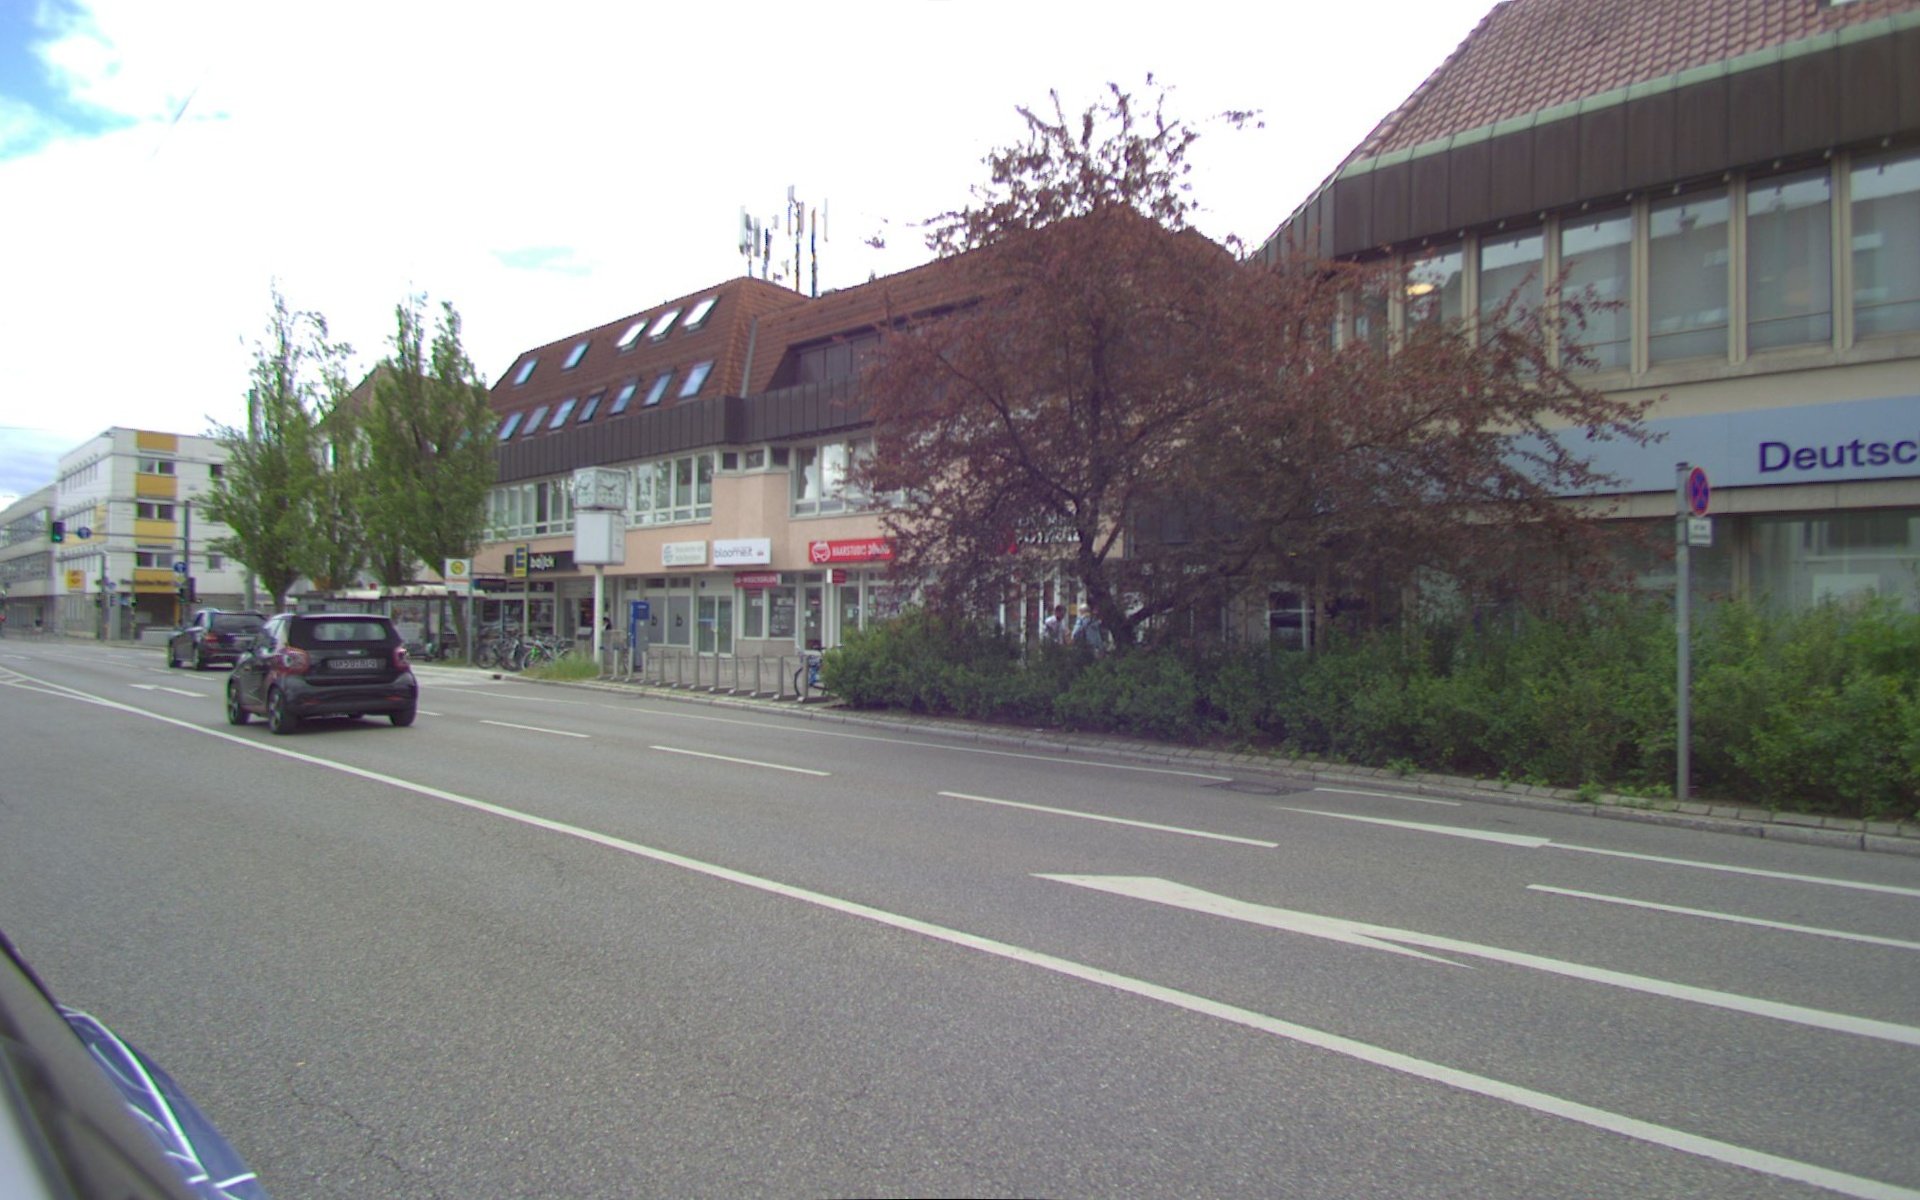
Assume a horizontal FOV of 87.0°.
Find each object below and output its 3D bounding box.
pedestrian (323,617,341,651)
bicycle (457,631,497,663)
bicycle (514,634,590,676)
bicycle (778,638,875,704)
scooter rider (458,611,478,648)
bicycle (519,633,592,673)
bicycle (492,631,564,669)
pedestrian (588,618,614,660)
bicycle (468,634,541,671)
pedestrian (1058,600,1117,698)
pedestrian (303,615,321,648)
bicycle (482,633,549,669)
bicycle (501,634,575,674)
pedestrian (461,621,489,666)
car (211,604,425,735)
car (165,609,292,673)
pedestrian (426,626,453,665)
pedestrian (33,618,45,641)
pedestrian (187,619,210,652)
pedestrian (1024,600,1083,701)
[{"bbox_3d":[-32.460,1.735,52.291,0.614,1.725,0.580,-2,1,39],"label":"pedestrian"},{"bbox_3d":[-17.401,1.679,36.446,1.929,1.098,0.528,-1,-1,39],"label":"bicycle"},{"bbox_3d":[-11.403,1.522,28.369,0.647,1.098,2.003,-1,-2,31],"label":"bicycle"},{"bbox_3d":[-2.370,1.250,18.234,0.647,1.098,2.003,-1,-2,31],"label":"bicycle"},{"bbox_3d":[-23.042,1.384,47.421,0.587,1.725,0.607,-2,1,38],"label":"scooter rider"},{"bbox_3d":[-11.712,1.526,29.376,0.647,1.098,2.003,-1,-2,31],"label":"bicycle"},{"bbox_3d":[-13.084,1.494,30.699,0.647,1.098,2.003,-1,-2,31],"label":"bicycle"},{"bbox_3d":[-13.395,1.443,37.794,0.587,1.559,0.704,-2,-2,40],"label":"pedestrian"},{"bbox_3d":[-14.032,1.604,31.209,0.648,1.098,1.999,-1,-2,36],"label":"bicycle"},{"bbox_3d":[2.419,0.920,19.257,0.717,1.777,0.756,-4,2,-45],"label":"pedestrian"},{"bbox_3d":[-32.994,1.619,51.521,0.614,1.647,0.580,-2,1,39],"label":"pedestrian"},{"bbox_3d":[-14.217,1.614,32.419,0.646,1.098,2.006,-1,-1,27],"label":"bicycle"},{"bbox_3d":[-12.351,1.564,29.697,0.647,1.098,2.003,-1,-2,31],"label":"bicycle"},{"bbox_3d":[-19.869,1.787,41.440,0.754,1.777,0.719,-2,1,39],"label":"pedestrian"},{"bbox_3d":[-8.656,0.867,13.592,2.957,1.552,1.554,-1,-2,39],"label":"car"},{"bbox_3d":[-21.814,1.225,30.100,4.691,1.752,2.047,-1,-4,42],"label":"car"},{"bbox_3d":[-18.811,1.629,36.599,0.588,1.374,0.704,-2,-2,43],"label":"pedestrian"},{"bbox_3d":[-75.405,2.407,82.859,0.526,1.816,0.580,-2,1,41],"label":"pedestrian"},{"bbox_3d":[-39.666,1.845,52.720,0.612,1.647,0.695,-2,1,30],"label":"pedestrian"},{"bbox_3d":[1.724,0.912,18.585,0.754,1.777,0.719,-2,1,39],"label":"pedestrian"}]
